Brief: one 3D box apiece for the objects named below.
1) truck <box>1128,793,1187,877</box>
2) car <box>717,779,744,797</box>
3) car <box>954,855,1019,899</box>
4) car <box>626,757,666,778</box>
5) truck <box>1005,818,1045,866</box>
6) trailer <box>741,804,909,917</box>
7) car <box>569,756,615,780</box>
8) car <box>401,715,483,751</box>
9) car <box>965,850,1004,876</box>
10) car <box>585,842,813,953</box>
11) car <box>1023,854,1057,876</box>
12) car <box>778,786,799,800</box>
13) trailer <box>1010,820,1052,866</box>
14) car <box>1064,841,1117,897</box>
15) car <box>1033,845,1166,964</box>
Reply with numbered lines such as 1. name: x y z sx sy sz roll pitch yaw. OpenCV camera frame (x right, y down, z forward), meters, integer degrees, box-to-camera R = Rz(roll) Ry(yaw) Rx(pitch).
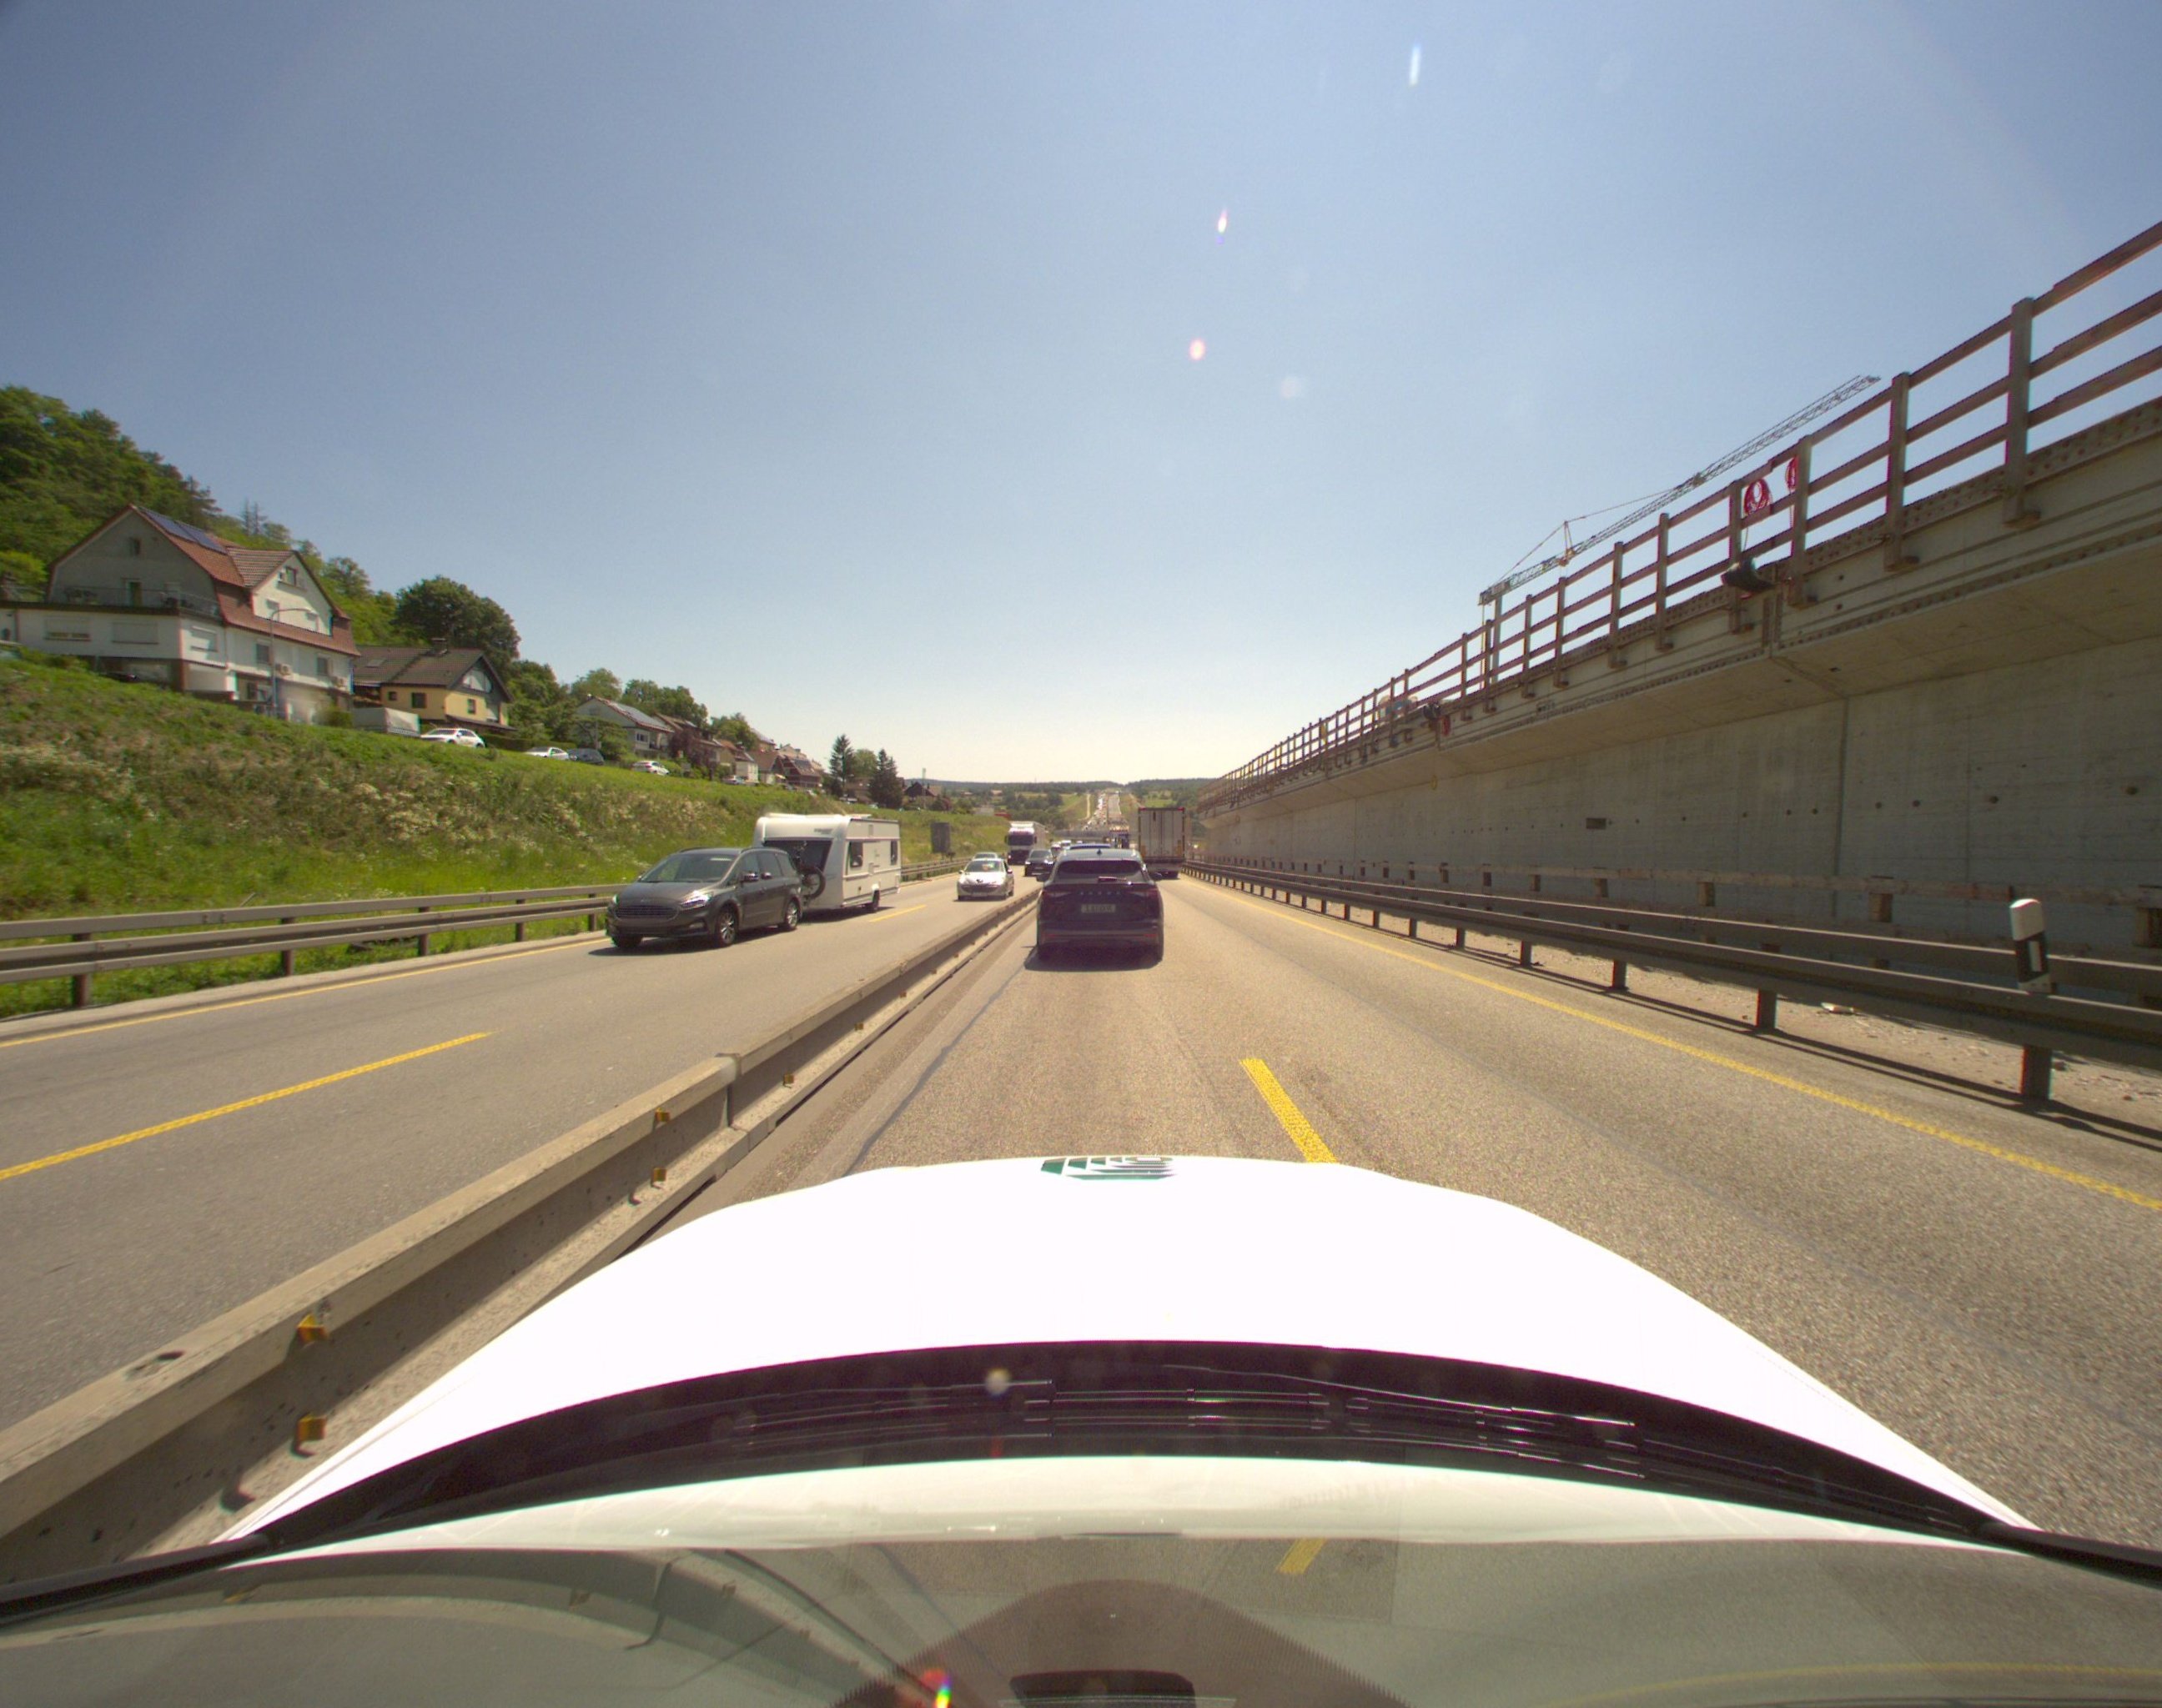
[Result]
1. truck: 4.615 -0.959 51.106 2.835 4.615 11.813 1 -1 1
2. car: -40.194 -7.533 93.366 1.925 1.728 3.987 0 0 -9
3. car: -3.258 0.791 28.860 1.696 1.441 4.001 -1 -1 2
4. car: -39.469 -7.859 73.978 1.994 1.320 3.986 4 -1 -10
5. truck: -5.281 -1.004 78.283 2.743 4.227 8.102 3 -1 2
6. trailer: -6.626 0.197 22.000 2.475 2.613 5.869 -1 -1 2
7. car: -37.609 -6.575 62.742 1.590 1.419 3.988 0 0 -9
8. car: -36.656 -6.924 46.864 1.994 1.320 3.986 4 -1 -10
9. car: -6.018 0.575 51.401 1.866 1.442 4.000 3 -1 0
10. car: -6.728 0.675 15.021 1.870 1.712 4.649 0 0 2
11. car: -2.506 0.689 50.847 1.765 1.288 4.001 1 -1 2
12. car: -42.179 -8.785 117.541 1.750 1.728 3.996 0 0 -3
13. trailer: -5.034 -0.970 85.246 2.749 4.273 14.639 3 -1 2
14. car: 0.295 0.525 30.183 1.744 1.895 3.753 2 0 -1
15. car: 0.249 0.681 12.755 1.777 1.597 3.754 0 0 0
